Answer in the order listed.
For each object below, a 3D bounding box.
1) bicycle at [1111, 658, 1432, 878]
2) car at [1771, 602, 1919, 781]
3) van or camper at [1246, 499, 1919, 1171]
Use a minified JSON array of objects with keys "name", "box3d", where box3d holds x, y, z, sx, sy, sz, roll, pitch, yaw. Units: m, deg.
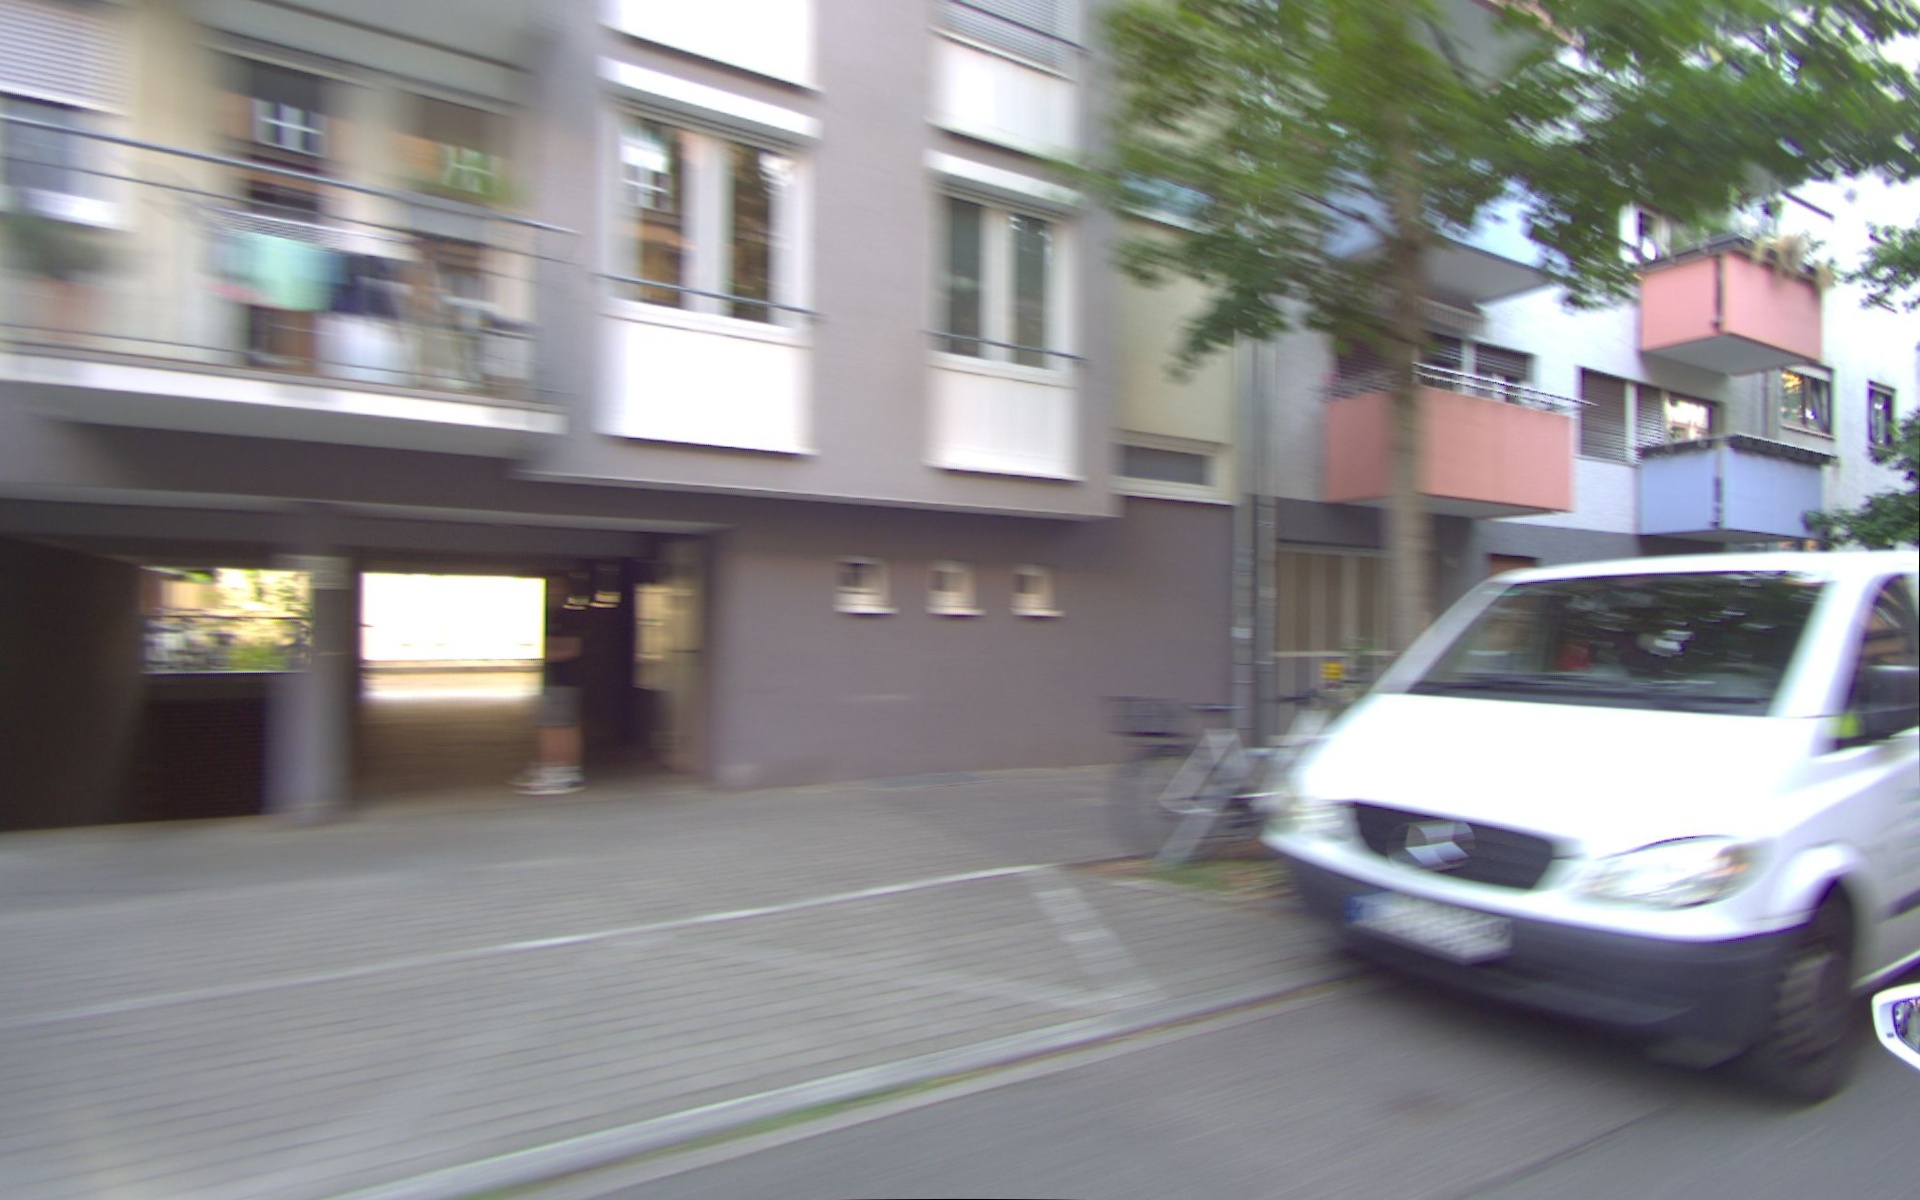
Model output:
[{"name":"bicycle","box3d":[1.853,0.974,6.171,1.786,1.179,0.699,0,-1,12]},{"name":"car","box3d":[11.111,0.934,10.900,4.864,1.668,1.984,2,1,-30]},{"name":"van or camper","box3d":[3.724,0.709,4.854,4.700,1.867,1.867,1,-1,-32]}]
